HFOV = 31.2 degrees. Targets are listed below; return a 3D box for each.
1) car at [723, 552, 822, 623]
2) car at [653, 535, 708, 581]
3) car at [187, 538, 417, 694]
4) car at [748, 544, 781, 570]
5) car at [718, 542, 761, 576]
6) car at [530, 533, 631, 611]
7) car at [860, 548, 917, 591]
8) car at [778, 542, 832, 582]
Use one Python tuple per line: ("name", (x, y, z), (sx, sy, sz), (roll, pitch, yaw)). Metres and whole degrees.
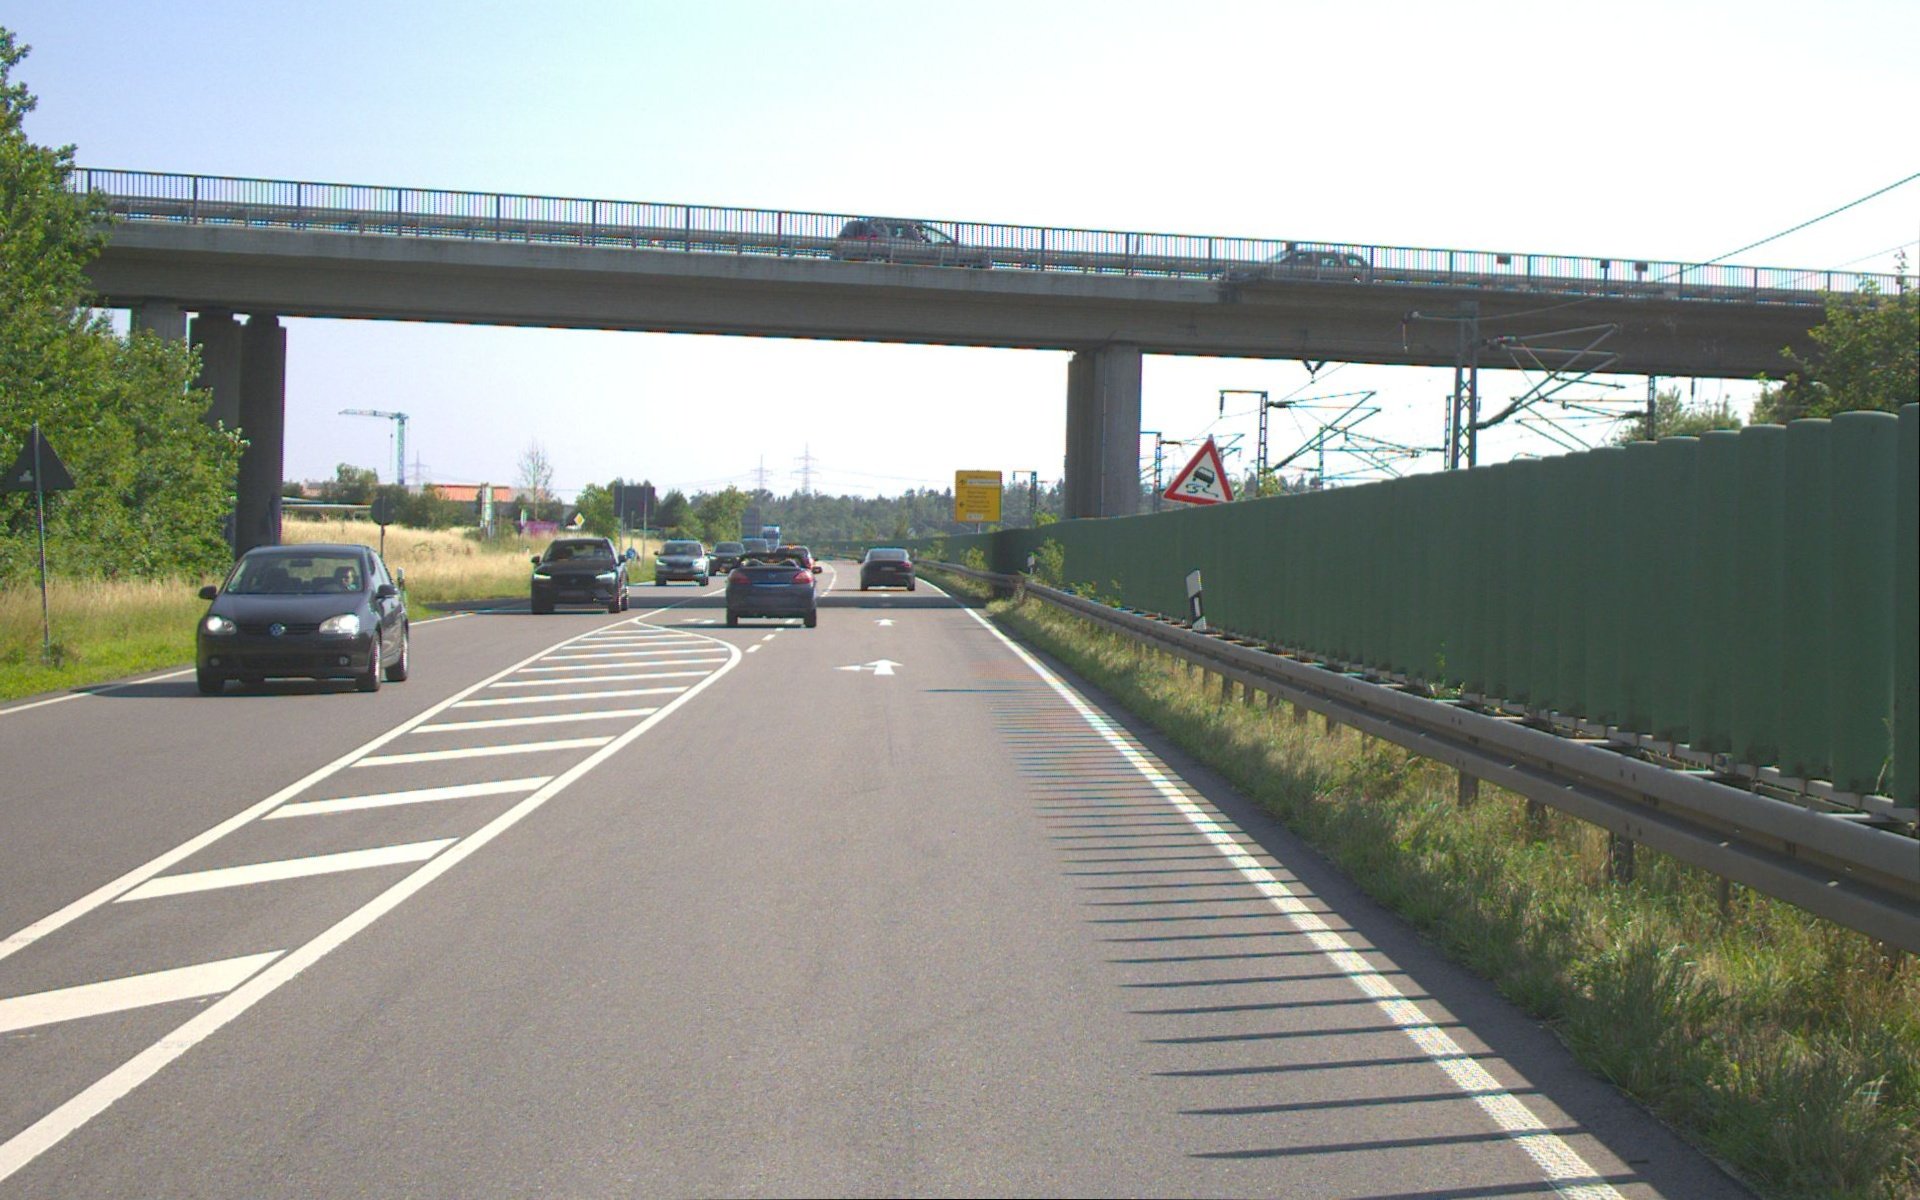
("car", (-3.427, -0.247, 63.235), (1.663, 1.257, 4.000), (1, 1, -1))
("car", (-10.192, -1.549, 125.646), (1.845, 1.625, 4.001), (1, 1, -3))
("car", (-6.597, 0.122, 34.834), (1.749, 1.476, 4.001), (1, 1, -3))
("car", (-12.239, -2.681, 215.387), (1.895, 1.625, 4.000), (1, 1, -1))
("car", (-10.718, -2.002, 167.222), (1.895, 1.625, 4.000), (1, 1, -1))
("car", (-8.259, -0.635, 75.117), (1.922, 1.587, 4.430), (2, 1, -4))
("car", (-2.418, -1.038, 116.510), (1.895, 1.413, 4.000), (1, 1, -1))
("car", (-5.700, -1.394, 126.765), (1.895, 1.413, 4.000), (1, 1, -1))
